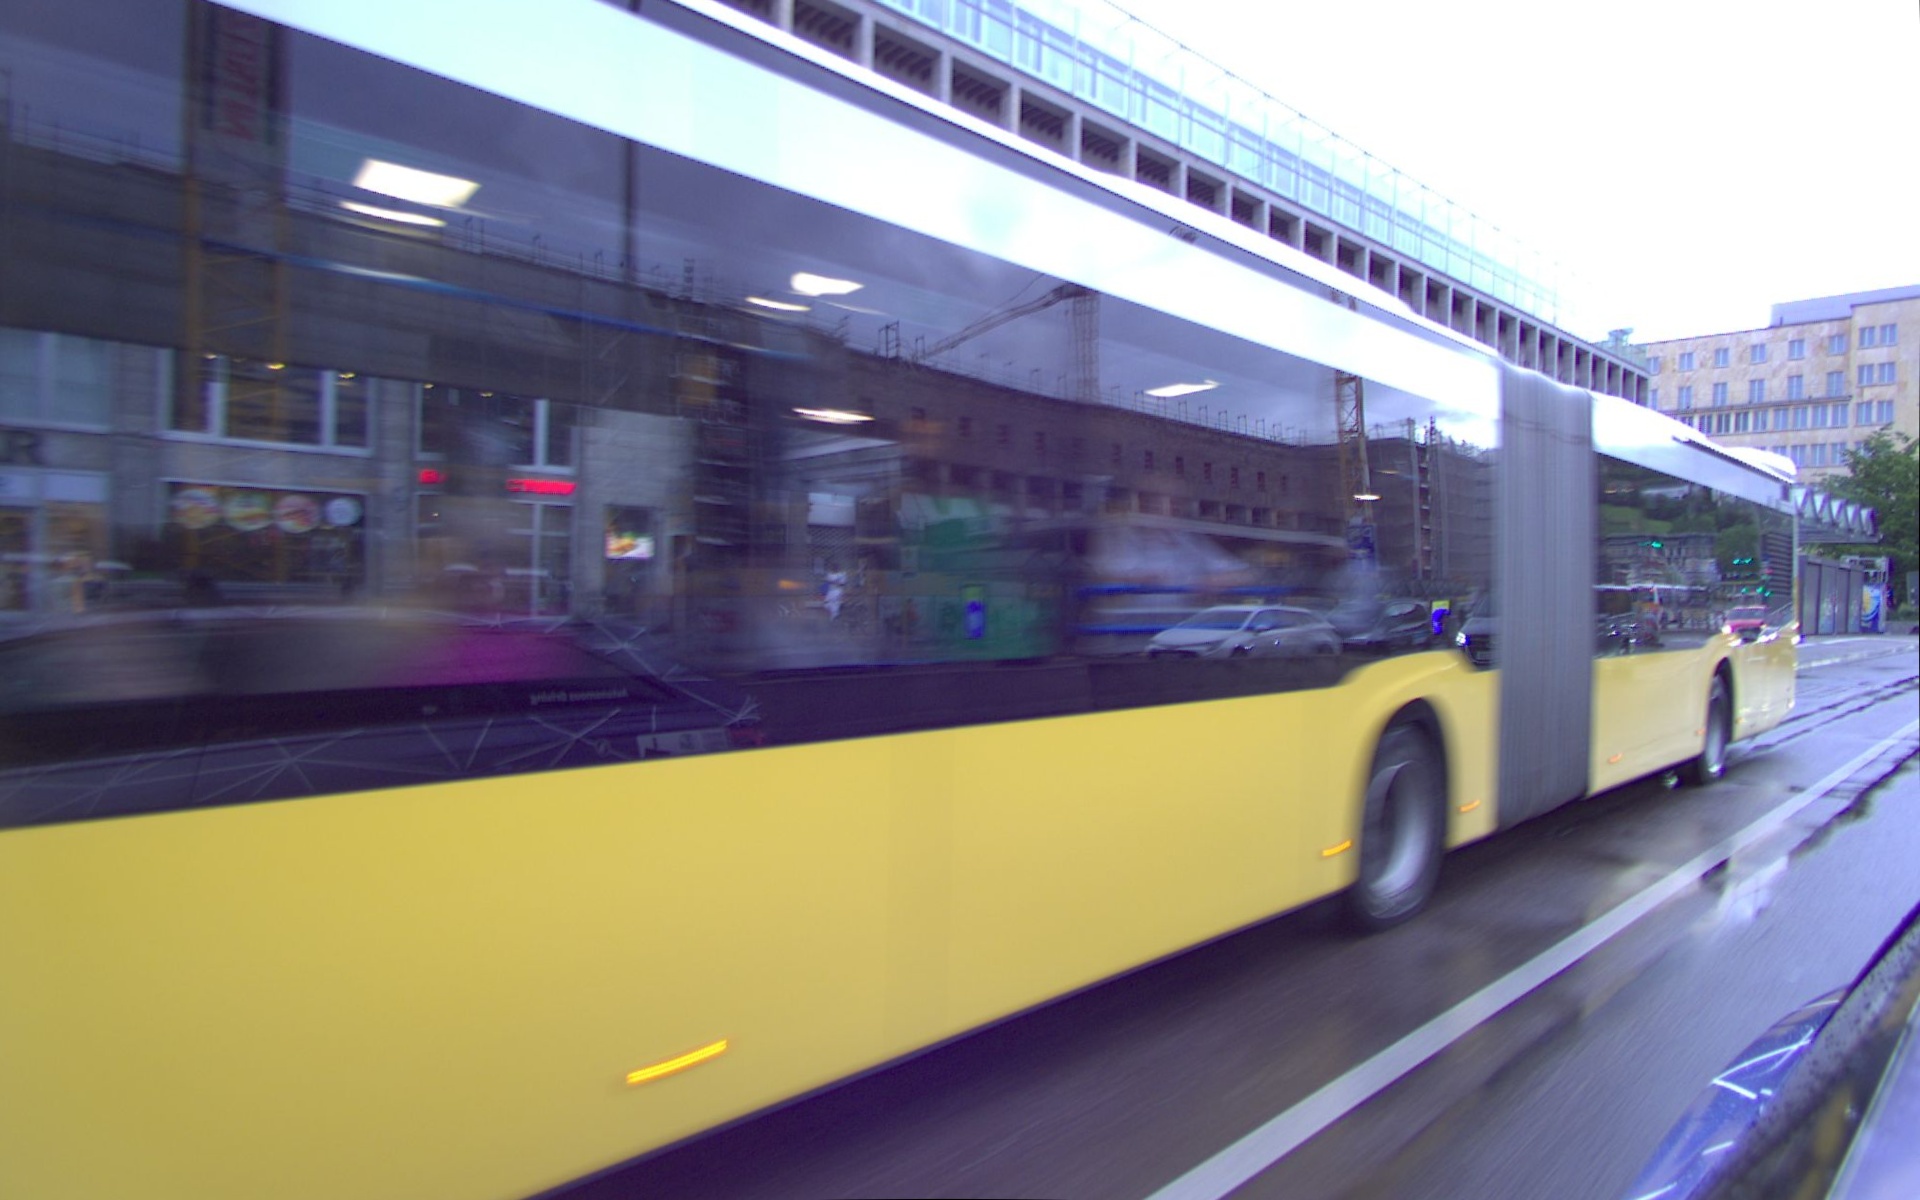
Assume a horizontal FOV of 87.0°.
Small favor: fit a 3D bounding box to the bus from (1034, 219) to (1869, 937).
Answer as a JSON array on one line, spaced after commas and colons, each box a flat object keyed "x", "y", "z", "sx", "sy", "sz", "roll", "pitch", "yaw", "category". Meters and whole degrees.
[{"x": 4.949, "y": -0.145, "z": 8.753, "sx": 8.973, "sy": 3.288, "sz": 3.147, "roll": 0, "pitch": 1, "yaw": -40, "category": "bus"}]

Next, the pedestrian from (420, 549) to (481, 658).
[{"x": -9.449, "y": 0.046, "z": 18.772, "sx": 0.781, "sy": 1.953, "sz": 0.649, "roll": 2, "pitch": 1, "yaw": 26, "category": "pedestrian"}]

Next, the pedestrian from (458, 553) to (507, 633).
[{"x": -9.506, "y": -0.145, "z": 20.155, "sx": 0.682, "sy": 1.540, "sz": 0.585, "roll": 2, "pitch": 1, "yaw": 25, "category": "pedestrian"}]

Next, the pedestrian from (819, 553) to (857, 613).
[{"x": -3.365, "y": -0.462, "z": 27.935, "sx": 0.973, "sy": 1.609, "sz": 0.790, "roll": 1, "pitch": 1, "yaw": -3, "category": "pedestrian"}]

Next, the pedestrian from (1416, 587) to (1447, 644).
[{"x": 11.770, "y": 0.377, "z": 25.273, "sx": 0.500, "sy": 1.395, "sz": 0.552, "roll": 1, "pitch": 1, "yaw": -44, "category": "pedestrian"}]

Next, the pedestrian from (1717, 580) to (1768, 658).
[{"x": 17.799, "y": 0.416, "z": 23.042, "sx": 0.755, "sy": 1.711, "sz": 0.989, "roll": 1, "pitch": 1, "yaw": 29, "category": "pedestrian"}]

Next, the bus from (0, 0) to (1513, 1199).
[{"x": -1.890, "y": -0.076, "z": 2.866, "sx": 9.080, "sy": 3.245, "sz": 3.119, "roll": 0, "pitch": 1, "yaw": -41, "category": "bus"}]

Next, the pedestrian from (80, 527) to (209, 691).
[{"x": -9.476, "y": 0.078, "z": 11.774, "sx": 0.981, "sy": 1.815, "sz": 0.783, "roll": 2, "pitch": 1, "yaw": 22, "category": "pedestrian"}]
